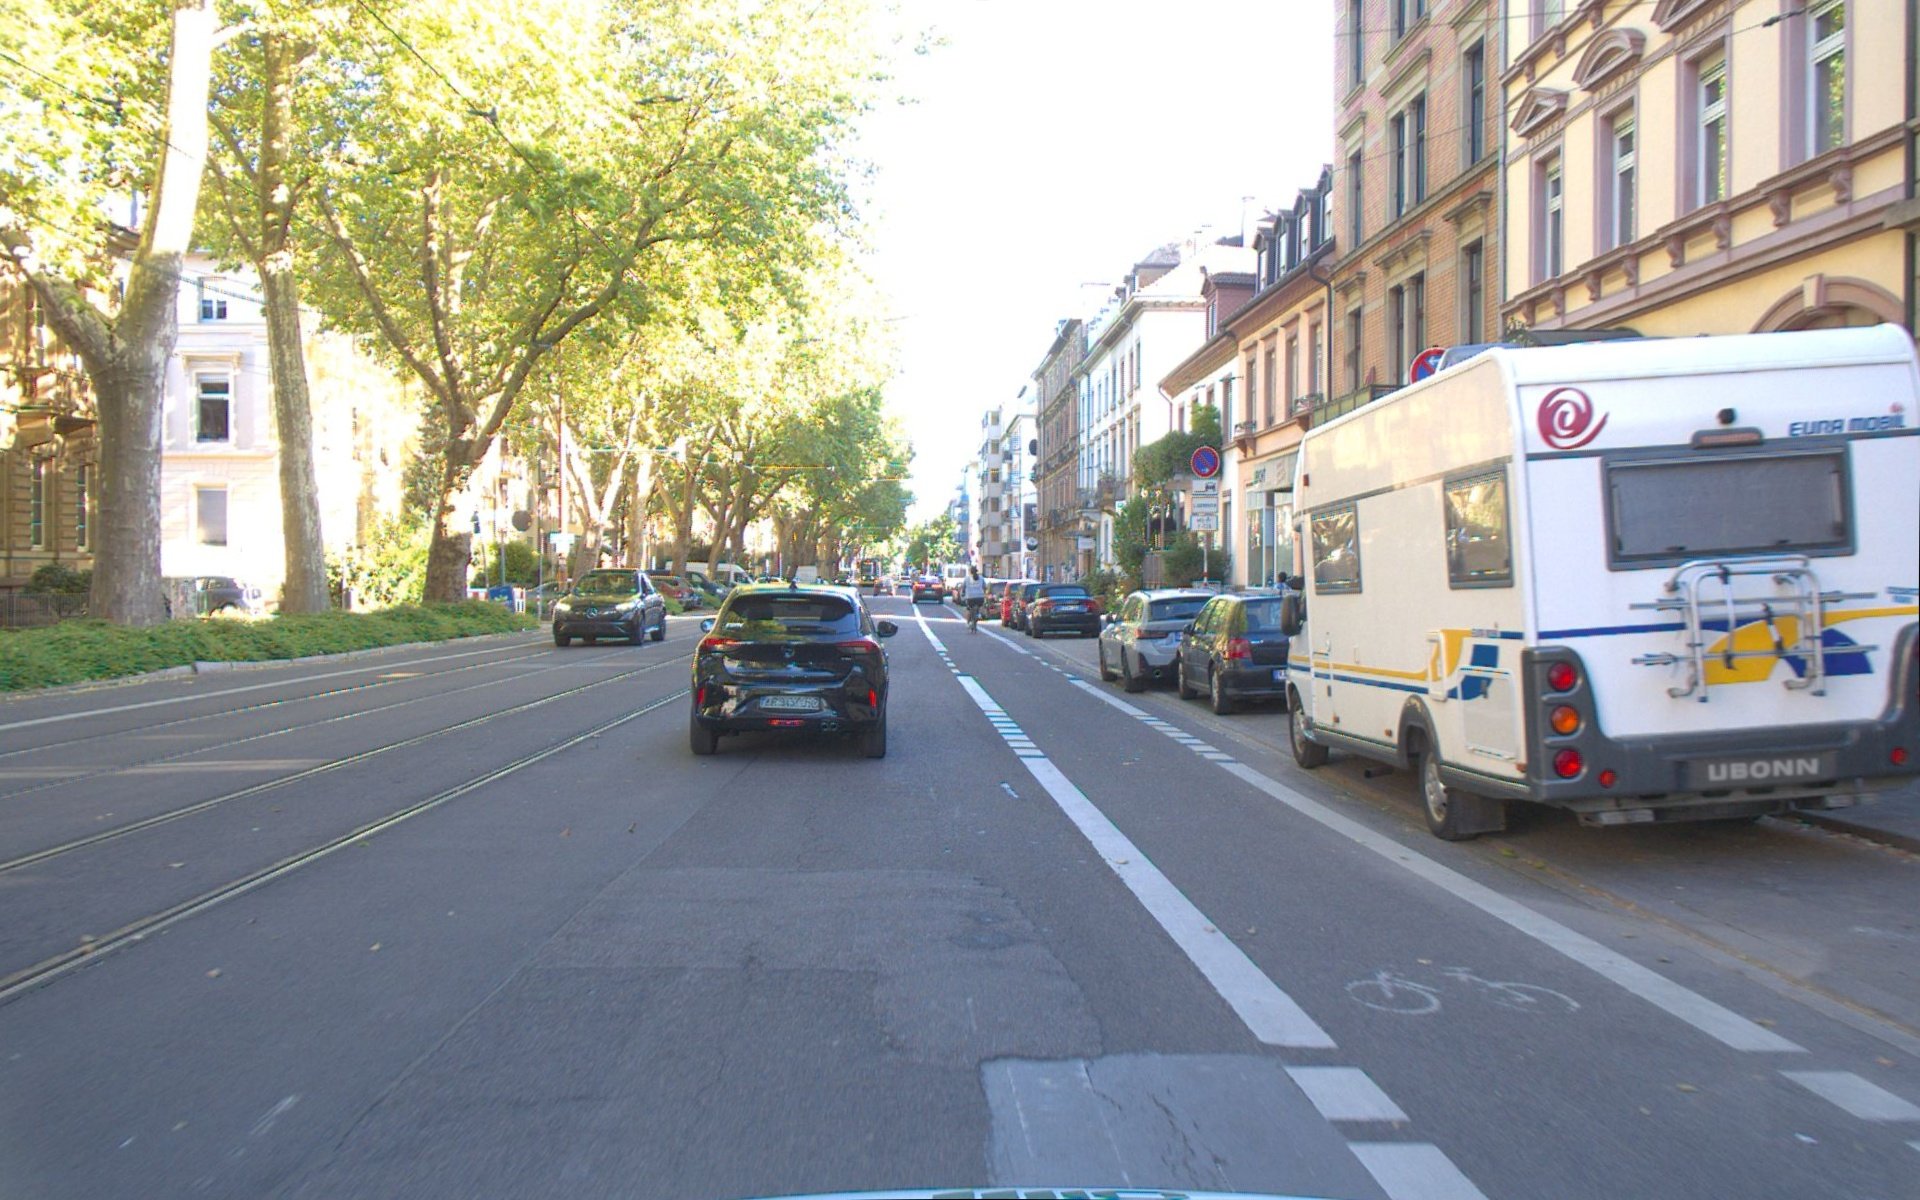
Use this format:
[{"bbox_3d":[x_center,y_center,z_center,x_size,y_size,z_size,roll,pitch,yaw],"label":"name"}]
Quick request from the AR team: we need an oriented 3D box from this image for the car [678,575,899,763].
[{"bbox_3d":[-1.442,0.532,15.087,1.758,1.466,3.530,1,1,-2],"label":"car"}]

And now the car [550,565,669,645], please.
[{"bbox_3d":[-7.757,0.062,36.972,1.829,1.658,4.559,0,1,-2],"label":"car"}]

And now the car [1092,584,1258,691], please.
[{"bbox_3d":[3.213,0.505,25.588,1.773,1.460,4.663,-1,1,-2],"label":"car"}]

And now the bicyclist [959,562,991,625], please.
[{"bbox_3d":[0.422,-0.177,47.339,0.831,1.770,1.161,1,0,-3],"label":"bicyclist"}]

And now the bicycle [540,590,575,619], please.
[{"bbox_3d":[-13.936,0.135,57.269,0.529,0.957,2.035,1,1,6],"label":"bicycle"}]

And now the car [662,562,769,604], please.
[{"bbox_3d":[-15.663,-1.099,106.160,6.494,2.451,2.457,2,0,-2],"label":"car"}]

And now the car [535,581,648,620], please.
[{"bbox_3d":[-14.028,0.011,63.103,3.841,1.355,1.847,2,0,-2],"label":"car"}]

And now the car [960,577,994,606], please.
[{"bbox_3d":[0.927,-0.482,91.961,1.537,1.543,3.038,-3,1,-4],"label":"car"}]

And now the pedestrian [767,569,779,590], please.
[{"bbox_3d":[-14.088,-1.558,124.678,0.757,1.594,0.675,1,0,-27],"label":"pedestrian"}]

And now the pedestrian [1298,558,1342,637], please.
[{"bbox_3d":[6.957,-0.050,31.995,0.644,1.509,0.785,1,0,-3],"label":"pedestrian"}]

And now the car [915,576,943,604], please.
[{"bbox_3d":[-1.950,-0.658,105.123,1.773,1.772,3.932,0,1,-1],"label":"car"}]

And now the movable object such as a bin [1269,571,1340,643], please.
[{"bbox_3d":[7.605,0.138,36.558,1.267,1.547,1.286,1,0,-2],"label":"movable object such as a bin"}]

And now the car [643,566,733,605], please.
[{"bbox_3d":[-14.949,-0.781,91.082,4.580,1.957,1.980,2,0,-1],"label":"car"}]

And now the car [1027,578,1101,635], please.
[{"bbox_3d":[2.760,0.141,44.608,1.659,1.417,4.494,-1,1,-1],"label":"car"}]

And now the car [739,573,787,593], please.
[{"bbox_3d":[-16.287,-1.394,137.141,3.843,1.524,1.675,2,0,-5],"label":"car"}]

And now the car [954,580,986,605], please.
[{"bbox_3d":[0.597,-0.478,101.309,1.773,1.361,3.932,-3,1,-1],"label":"car"}]

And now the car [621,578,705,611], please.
[{"bbox_3d":[-14.620,-0.272,81.670,3.842,1.446,1.817,2,0,-4],"label":"car"}]

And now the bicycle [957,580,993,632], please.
[{"bbox_3d":[0.419,0.152,47.295,0.843,1.431,2.523,1,1,-3],"label":"bicycle"}]

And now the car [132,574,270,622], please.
[{"bbox_3d":[-24.913,-0.066,54.368,3.700,1.443,1.694,-1,3,-2],"label":"car"}]

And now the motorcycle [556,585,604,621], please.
[{"bbox_3d":[-12.949,0.098,56.418,0.865,1.167,2.392,1,1,6],"label":"motorcycle"}]

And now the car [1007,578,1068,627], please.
[{"bbox_3d":[2.413,0.055,52.107,1.617,1.481,3.867,-1,1,-2],"label":"car"}]

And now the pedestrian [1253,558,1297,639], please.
[{"bbox_3d":[6.086,-0.036,32.007,0.647,1.531,0.866,-1,0,-3],"label":"pedestrian"}]

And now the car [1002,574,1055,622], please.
[{"bbox_3d":[2.319,-0.097,56.528,1.601,1.573,3.575,-1,1,-1],"label":"car"}]

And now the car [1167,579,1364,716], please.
[{"bbox_3d":[3.716,0.514,20.761,1.611,1.459,4.028,-3,1,-1],"label":"car"}]

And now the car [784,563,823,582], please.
[{"bbox_3d":[-15.858,-2.757,167.623,3.843,1.821,1.675,2,0,-5],"label":"car"}]

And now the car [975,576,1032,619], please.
[{"bbox_3d":[1.742,-0.124,67.925,1.844,1.613,3.929,-3,1,-5],"label":"car"}]

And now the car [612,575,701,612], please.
[{"bbox_3d":[-14.532,-0.321,79.267,3.914,1.655,1.879,2,0,-2],"label":"car"}]

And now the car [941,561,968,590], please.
[{"bbox_3d":[-0.495,-1.989,134.564,2.033,2.257,4.932,-3,1,-1],"label":"car"}]

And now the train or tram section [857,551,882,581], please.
[{"bbox_3d":[-11.843,-4.407,217.678,2.679,3.746,12.714,0,1,-1],"label":"train or tram section"}]

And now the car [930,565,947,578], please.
[{"bbox_3d":[-2.395,-3.193,184.737,1.773,1.361,3.932,-3,1,-1],"label":"car"}]

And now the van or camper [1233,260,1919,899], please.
[{"bbox_3d":[3.965,-0.157,12.052,2.427,3.023,7.883,-3,1,-1],"label":"van or camper"}]

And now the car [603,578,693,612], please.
[{"bbox_3d":[-14.498,-0.233,77.021,3.841,1.467,1.748,2,0,-2],"label":"car"}]

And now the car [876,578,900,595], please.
[{"bbox_3d":[-5.721,-1.074,131.572,1.773,1.361,3.932,0,1,-1],"label":"car"}]
